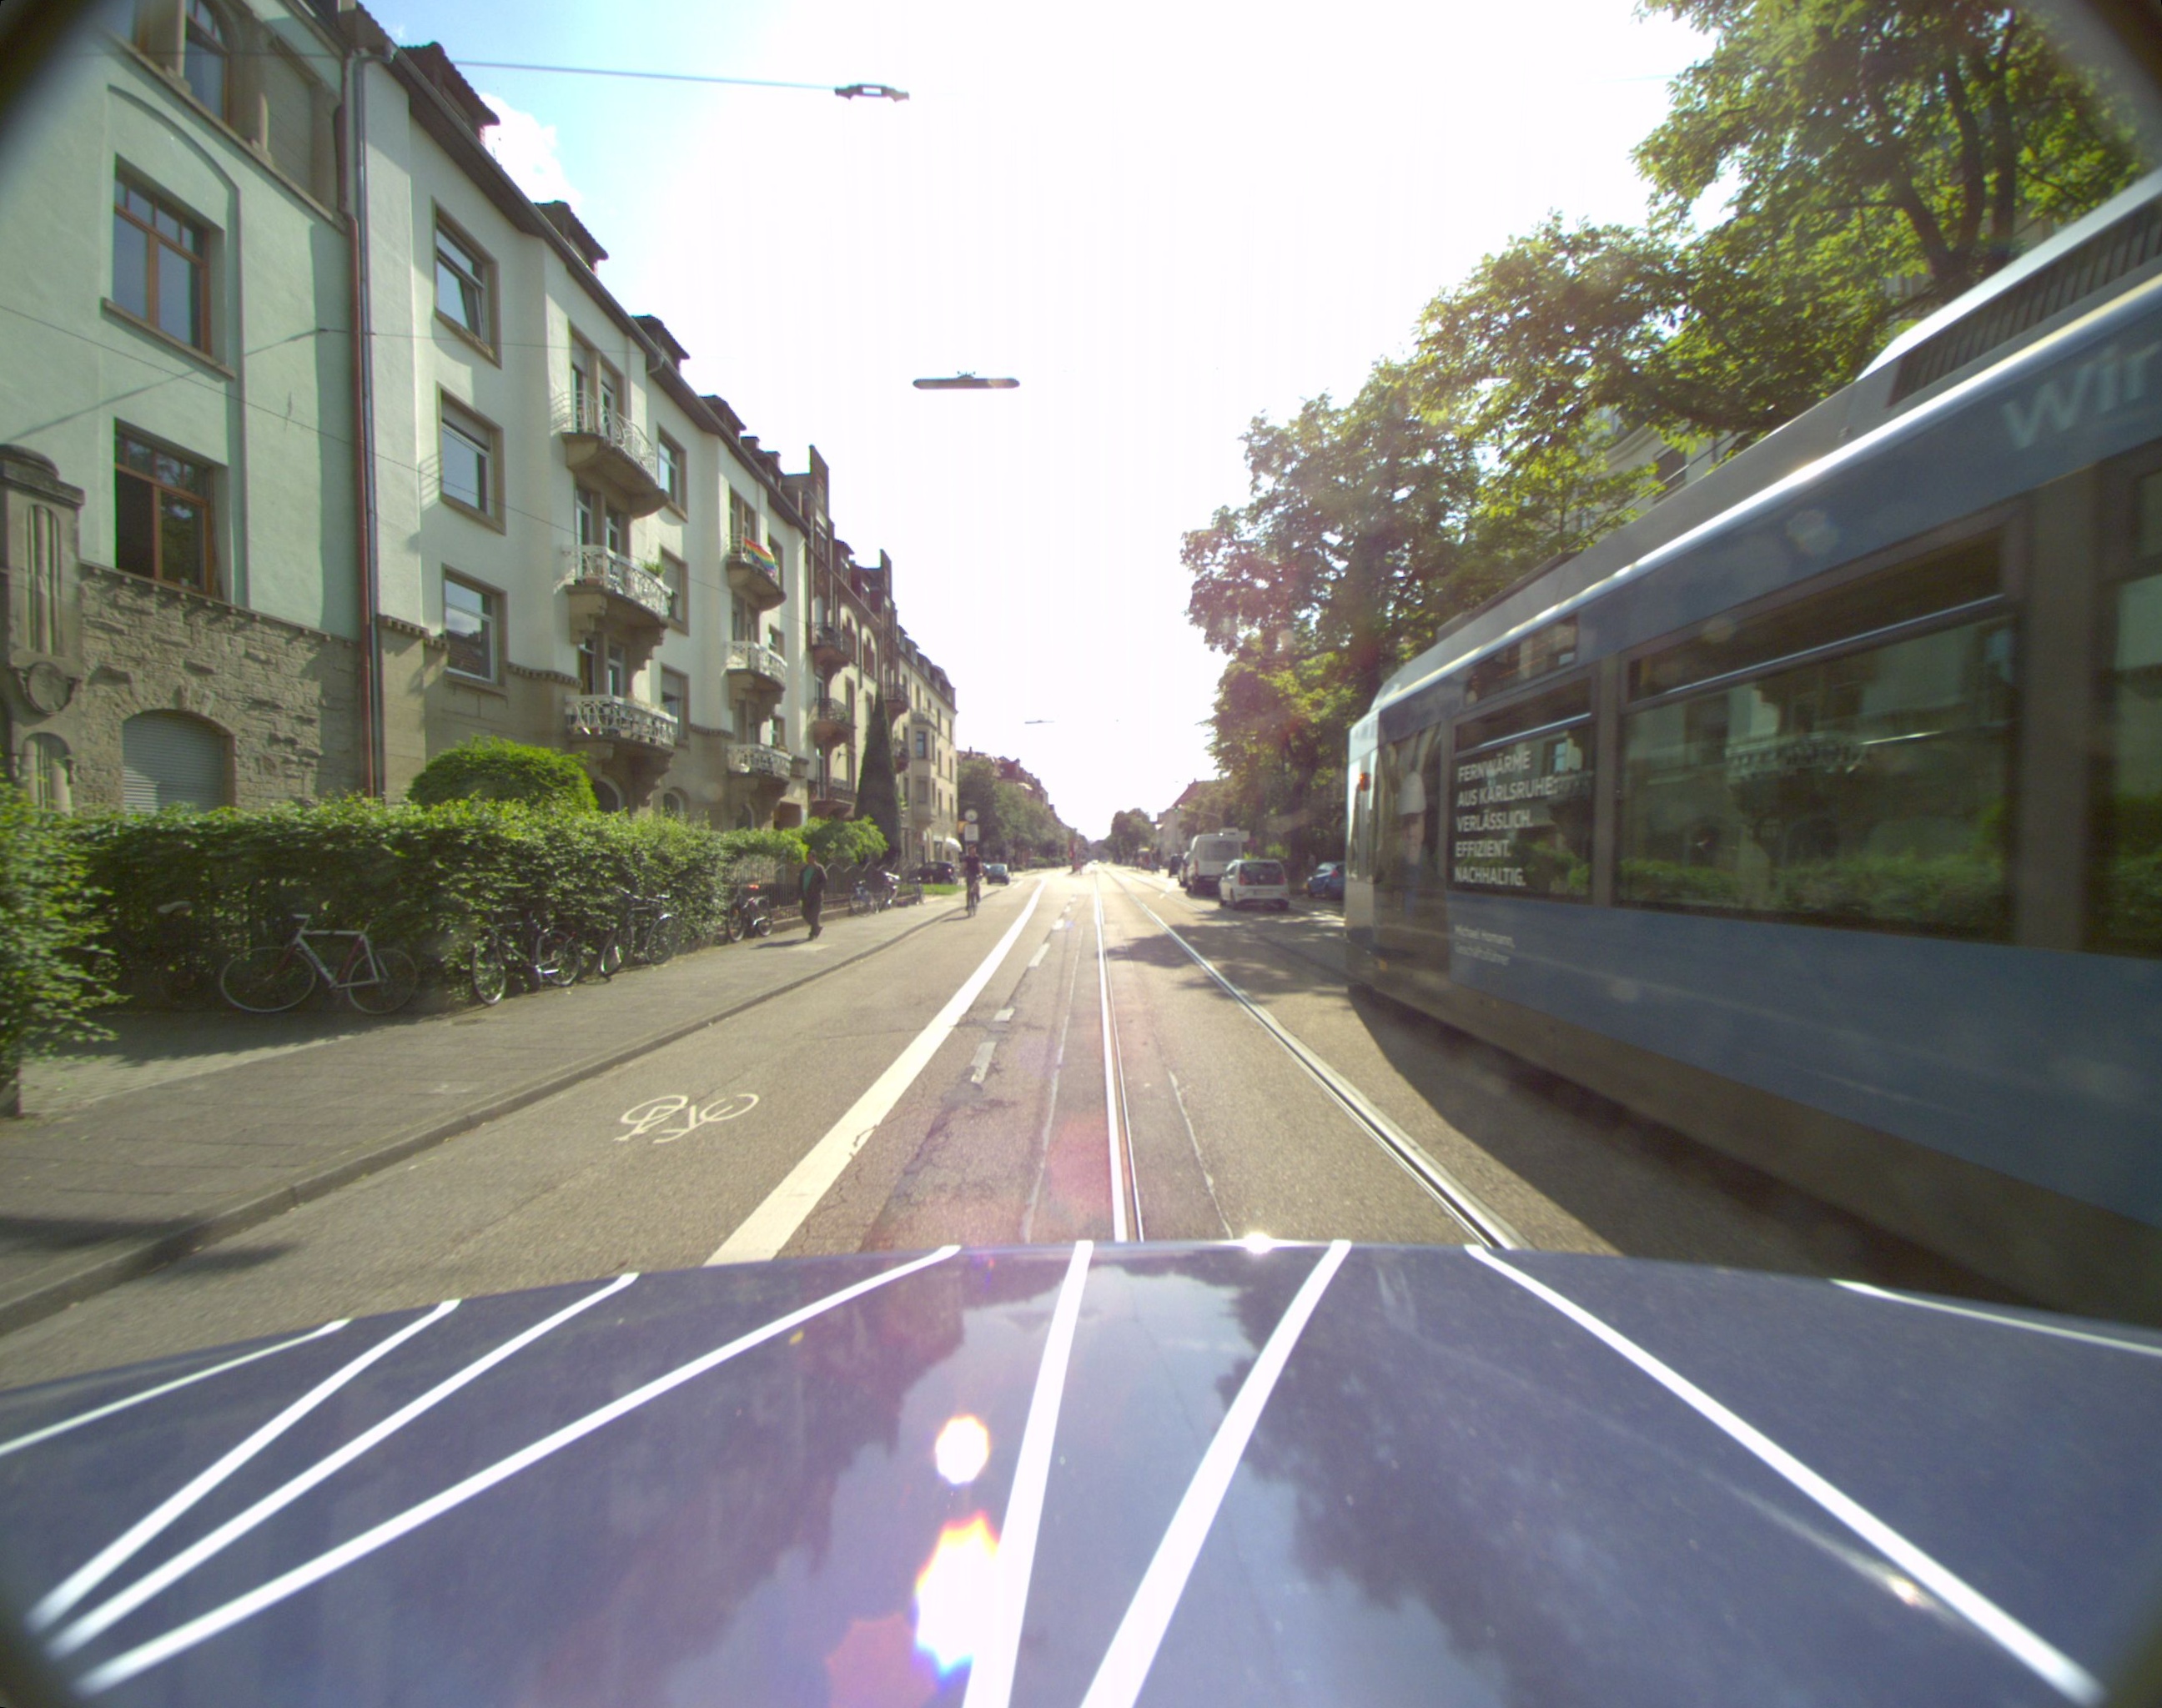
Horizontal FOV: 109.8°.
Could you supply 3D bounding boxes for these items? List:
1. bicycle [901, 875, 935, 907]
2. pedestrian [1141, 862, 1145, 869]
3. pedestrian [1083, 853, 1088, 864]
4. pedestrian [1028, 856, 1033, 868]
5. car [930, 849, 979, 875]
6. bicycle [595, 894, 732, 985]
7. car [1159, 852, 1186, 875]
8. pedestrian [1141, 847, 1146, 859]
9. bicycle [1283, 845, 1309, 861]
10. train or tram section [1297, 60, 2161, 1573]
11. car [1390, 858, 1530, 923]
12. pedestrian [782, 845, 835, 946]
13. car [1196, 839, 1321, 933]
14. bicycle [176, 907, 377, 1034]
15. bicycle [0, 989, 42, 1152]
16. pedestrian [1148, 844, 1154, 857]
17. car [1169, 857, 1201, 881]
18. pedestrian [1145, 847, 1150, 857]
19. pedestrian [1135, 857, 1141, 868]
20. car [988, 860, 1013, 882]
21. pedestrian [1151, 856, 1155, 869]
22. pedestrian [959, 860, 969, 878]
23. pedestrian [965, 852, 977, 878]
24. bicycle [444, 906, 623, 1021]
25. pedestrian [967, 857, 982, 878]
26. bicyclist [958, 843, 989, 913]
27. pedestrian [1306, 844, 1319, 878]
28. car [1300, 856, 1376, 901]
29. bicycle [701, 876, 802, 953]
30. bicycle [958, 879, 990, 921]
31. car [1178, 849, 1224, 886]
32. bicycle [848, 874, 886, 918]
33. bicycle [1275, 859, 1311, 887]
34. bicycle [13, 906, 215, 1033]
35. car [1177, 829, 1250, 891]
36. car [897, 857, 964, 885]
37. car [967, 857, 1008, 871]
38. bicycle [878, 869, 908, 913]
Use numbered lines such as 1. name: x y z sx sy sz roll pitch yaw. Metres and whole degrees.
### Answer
1. bicycle: -5.756 1.292 27.002 0.600 0.955 3.066 3 0 -2
2. pedestrian: 8.498 1.569 104.075 0.340 0.925 0.346 1 1 -6
3. pedestrian: 0.623 0.643 111.945 0.702 1.524 0.557 -3 1 1
4. pedestrian: -7.408 1.153 111.561 0.707 1.644 0.534 -3 1 1
5. car: -14.326 0.886 85.807 2.397 2.778 6.657 -2 0 -38
6. bicycle: -5.833 1.148 10.812 0.612 0.990 2.362 2 1 1
7. car: 7.993 0.777 66.694 1.932 1.906 5.124 2 0 2
8. pedestrian: 8.585 -0.167 103.883 0.498 1.660 0.678 1 1 -5
9. bicycle: 13.443 -0.064 47.558 1.001 0.927 1.860 -5 -1 0
10. train or tram section: 3.795 -0.092 2.873 2.659 3.416 12.314 1 1 1
11. car: 9.767 0.883 19.970 1.630 1.463 4.205 -3 -1 2
12. pedestrian: -5.136 0.776 14.374 0.790 1.850 0.580 1 1 -6
13. car: 5.209 0.859 23.450 2.322 2.493 6.363 -1 0 0
14. bicycle: -7.607 1.090 7.204 1.512 1.108 0.356 2 1 0
15. bicycle: -6.328 1.238 3.667 0.274 0.901 1.669 2 -1 1
16. pedestrian: 9.075 -0.438 98.795 0.473 1.647 0.746 6 1 0
17. car: 7.533 1.048 55.370 1.697 1.472 4.480 2 2 1
18. pedestrian: 8.968 -0.224 102.699 0.605 1.329 0.406 1 1 -5
19. pedestrian: 8.454 1.200 112.346 0.657 1.598 0.638 1 1 -5
20. car: -5.812 1.235 55.092 1.517 1.490 2.794 2 0 -1
21. pedestrian: 8.798 1.032 92.941 0.428 1.495 0.704 1 1 1
22. pedestrian: -8.594 1.102 55.832 0.571 1.318 0.442 4 0 -7
23. pedestrian: -8.103 0.817 55.855 0.661 1.831 0.873 6 0 -7
24. bicycle: -5.952 1.143 8.414 0.614 0.983 1.872 1 1 1
25. pedestrian: -9.980 1.266 70.988 1.013 1.758 0.850 8 0 2
26. bicyclist: -3.079 0.661 21.847 0.608 1.937 1.130 -3 1 1
27. pedestrian: 13.954 0.435 45.824 0.484 2.002 0.807 -2 1 34
28. car: 9.959 0.911 29.702 1.553 1.510 4.085 -3 0 0
29. bicycle: -6.113 1.078 14.286 0.742 1.224 2.516 -1 1 0
30. bicycle: -3.054 1.303 21.803 0.617 1.039 1.835 1 2 1
31. car: 6.601 0.737 42.327 1.991 1.951 5.181 0 0 3
32. bicycle: -5.827 1.122 20.776 0.452 1.116 1.844 1 0 2
33. bicycle: 10.788 0.967 38.608 2.060 1.301 0.619 -3 1 -40
34. bicycle: -9.153 1.080 7.209 1.512 1.108 0.356 1 1 2
35. car: 5.799 0.270 34.088 2.321 2.492 6.365 -1 -1 2
36. car: -8.753 0.969 44.292 3.409 1.515 1.972 1 0 3
37. car: -9.668 1.062 78.767 3.989 1.410 1.896 -1 0 36
38. bicycle: -5.644 1.092 22.883 0.452 1.253 1.844 1 0 -2
